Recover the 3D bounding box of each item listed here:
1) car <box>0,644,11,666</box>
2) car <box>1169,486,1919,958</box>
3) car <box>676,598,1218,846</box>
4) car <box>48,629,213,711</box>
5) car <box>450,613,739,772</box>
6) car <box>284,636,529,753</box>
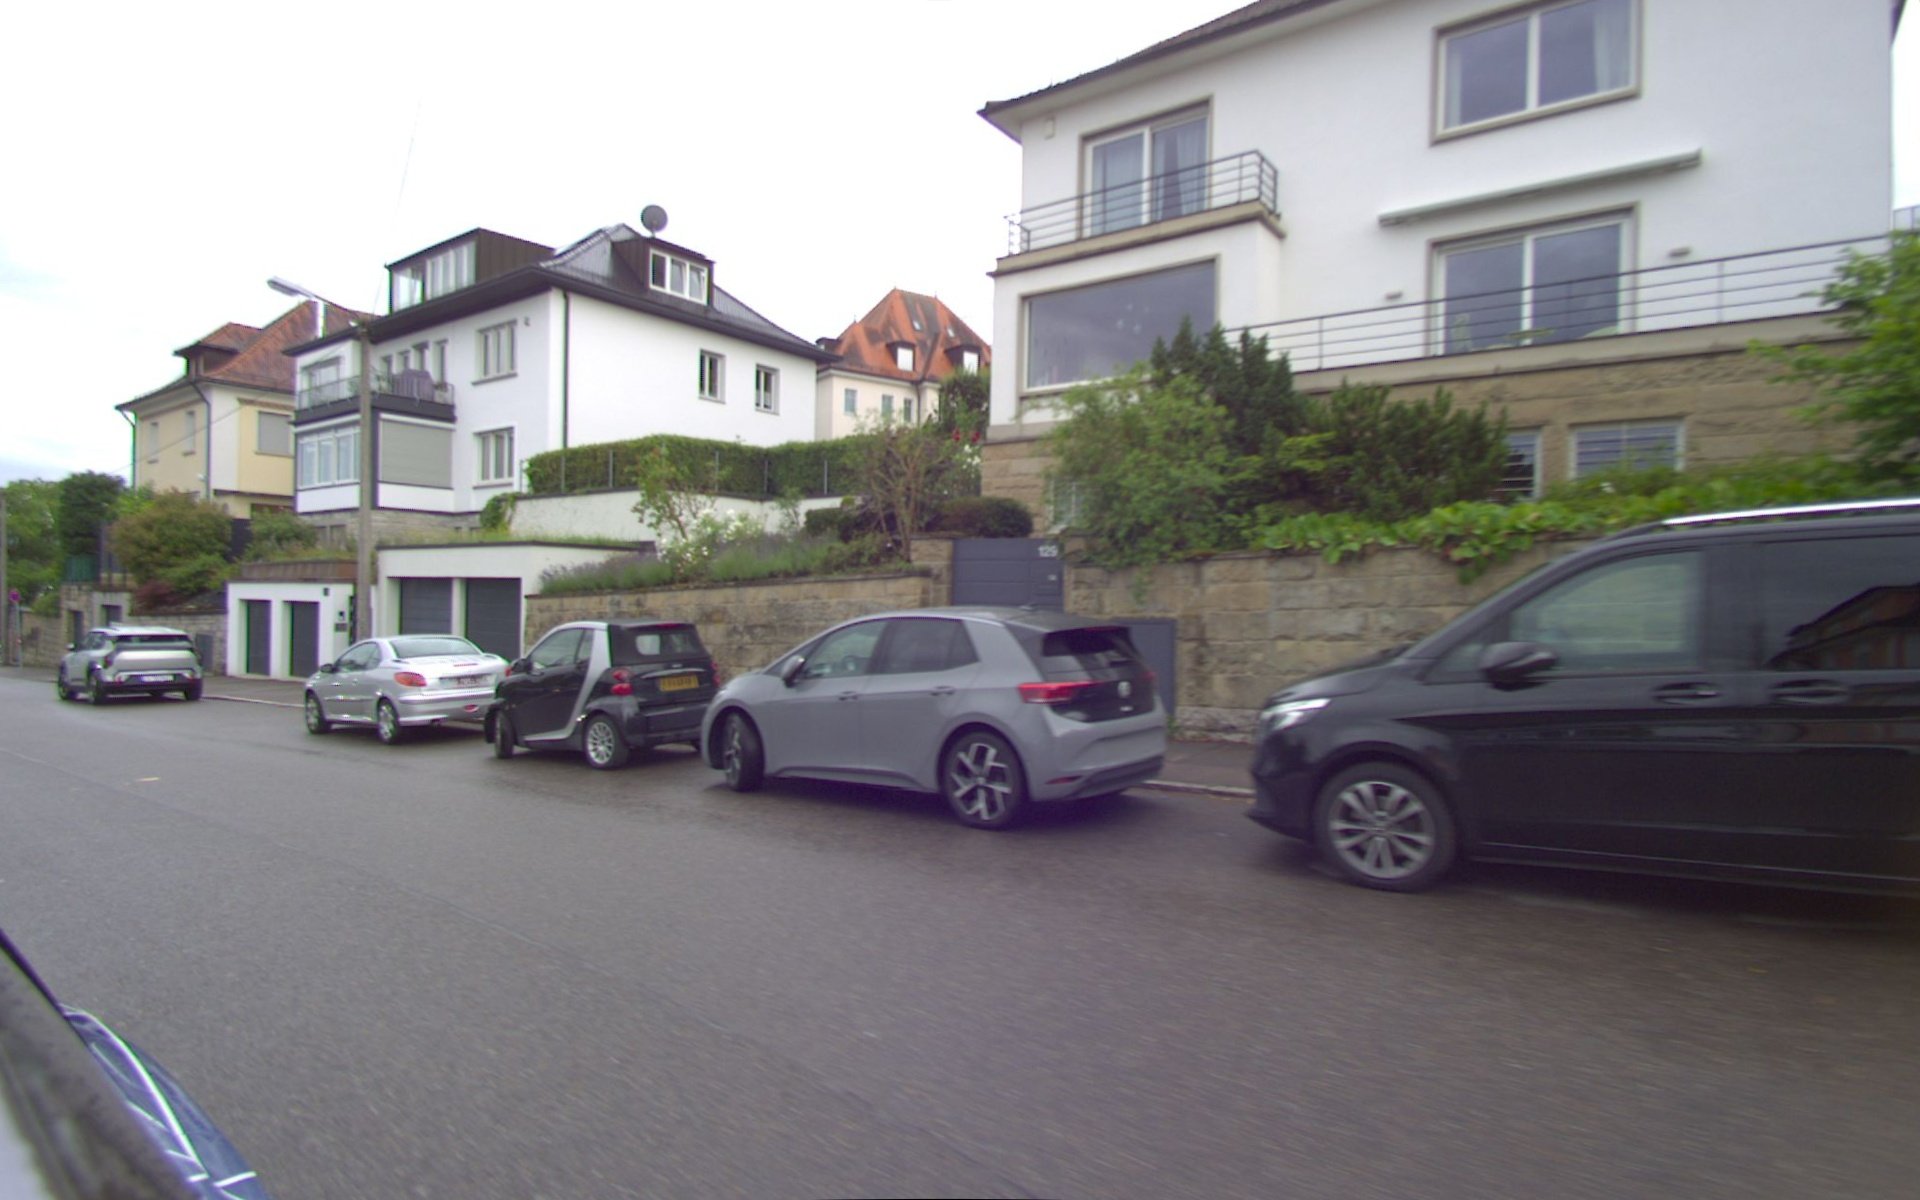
[{"bbox_3d":[-67.668,3.721,68.752,1.839,1.554,4.896,1,-4,-2],"label":"car"},{"bbox_3d":[4.105,0.485,5.099,5.579,1.874,2.111,-2,-1,34],"label":"car"},{"bbox_3d":[-0.292,0.823,8.457,4.338,1.526,1.879,-2,-1,40],"label":"car"},{"bbox_3d":[-18.012,1.453,21.917,4.232,1.579,1.880,-2,-2,38],"label":"car"},{"bbox_3d":[-4.151,0.957,11.382,3.150,1.535,1.484,-2,-1,34],"label":"car"},{"bbox_3d":[-7.770,1.225,14.090,3.835,1.348,1.594,-2,-1,38],"label":"car"}]
